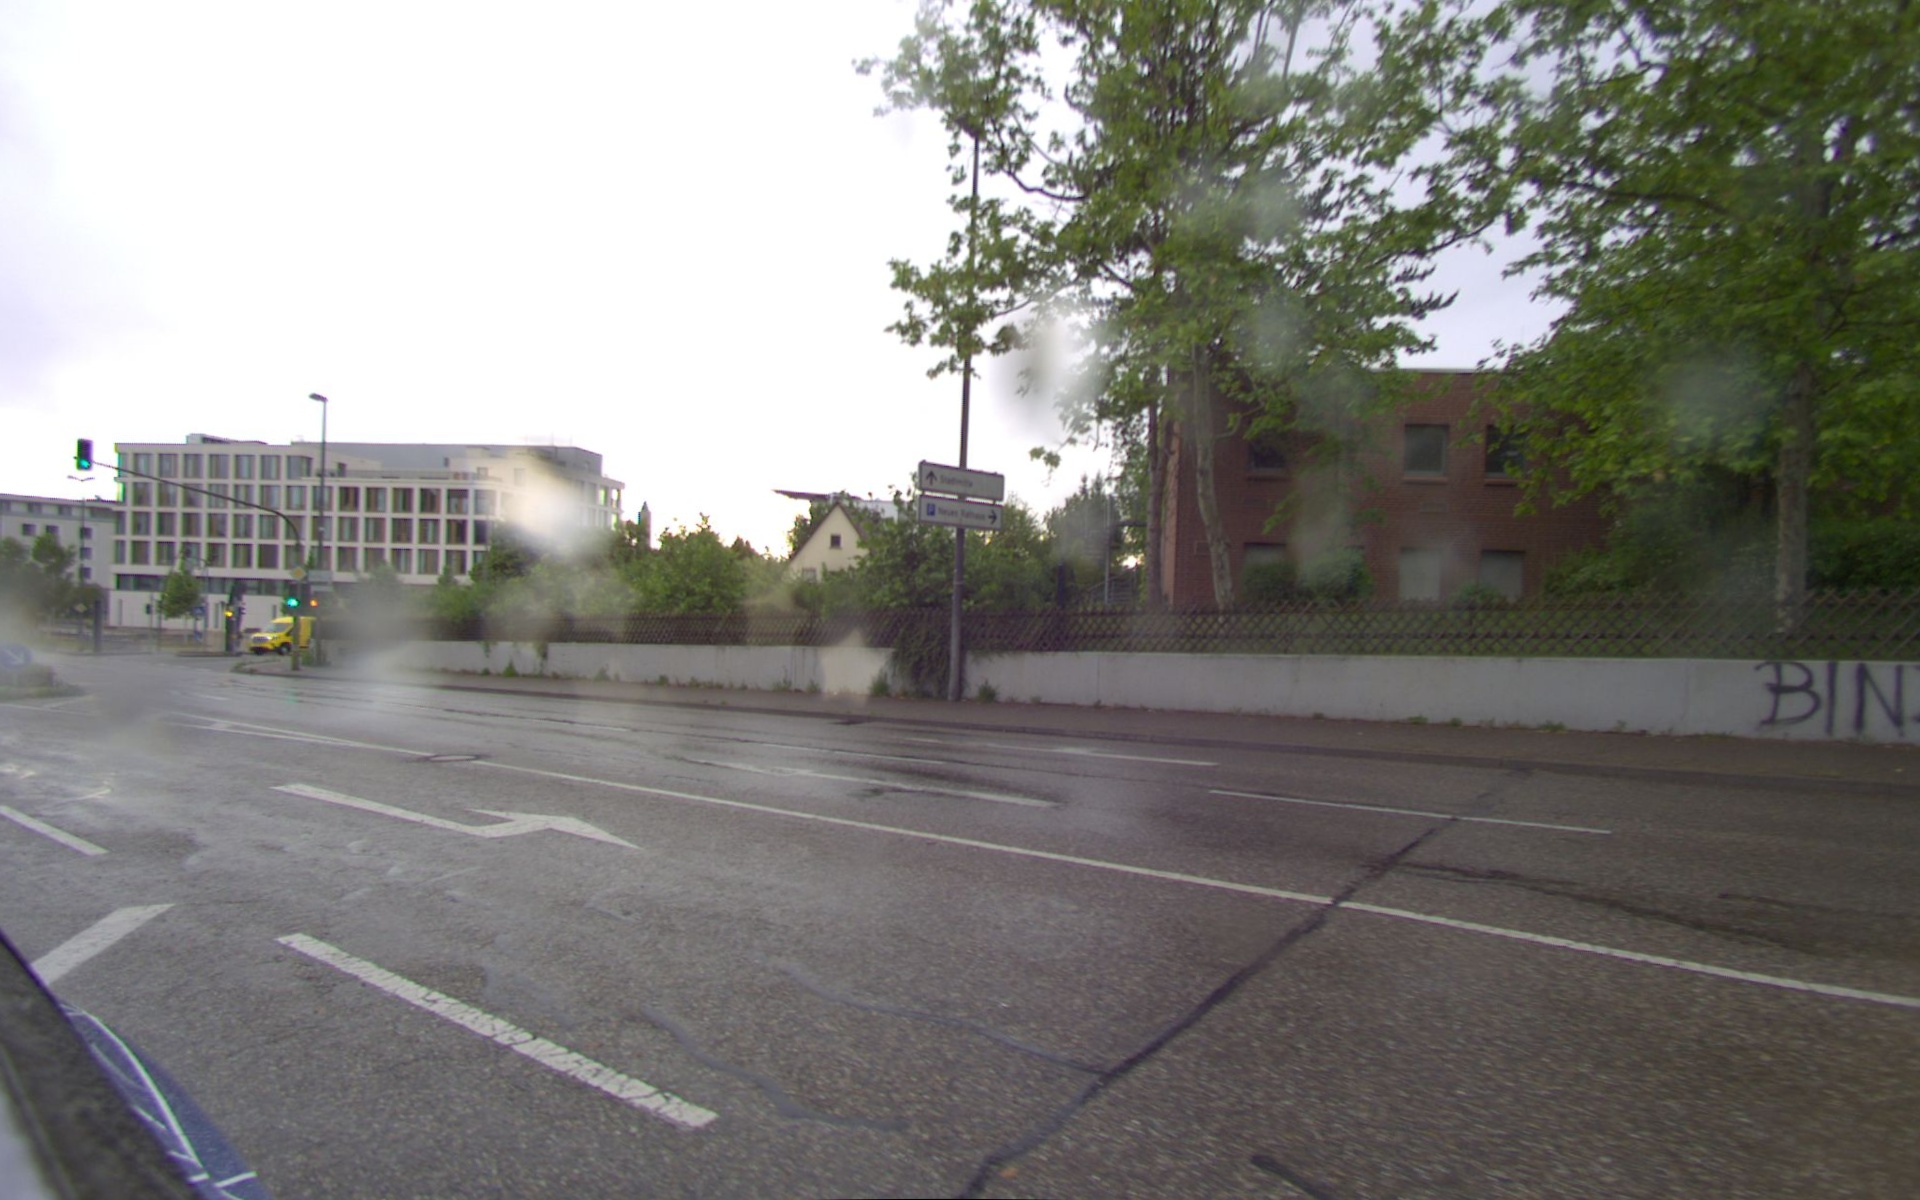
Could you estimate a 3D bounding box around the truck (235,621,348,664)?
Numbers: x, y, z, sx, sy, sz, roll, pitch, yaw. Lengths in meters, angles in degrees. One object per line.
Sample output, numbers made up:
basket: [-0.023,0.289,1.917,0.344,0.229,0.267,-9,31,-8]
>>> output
truck: [-42.390,2.700,64.414,2.206,2.557,6.150,1,-2,12]
